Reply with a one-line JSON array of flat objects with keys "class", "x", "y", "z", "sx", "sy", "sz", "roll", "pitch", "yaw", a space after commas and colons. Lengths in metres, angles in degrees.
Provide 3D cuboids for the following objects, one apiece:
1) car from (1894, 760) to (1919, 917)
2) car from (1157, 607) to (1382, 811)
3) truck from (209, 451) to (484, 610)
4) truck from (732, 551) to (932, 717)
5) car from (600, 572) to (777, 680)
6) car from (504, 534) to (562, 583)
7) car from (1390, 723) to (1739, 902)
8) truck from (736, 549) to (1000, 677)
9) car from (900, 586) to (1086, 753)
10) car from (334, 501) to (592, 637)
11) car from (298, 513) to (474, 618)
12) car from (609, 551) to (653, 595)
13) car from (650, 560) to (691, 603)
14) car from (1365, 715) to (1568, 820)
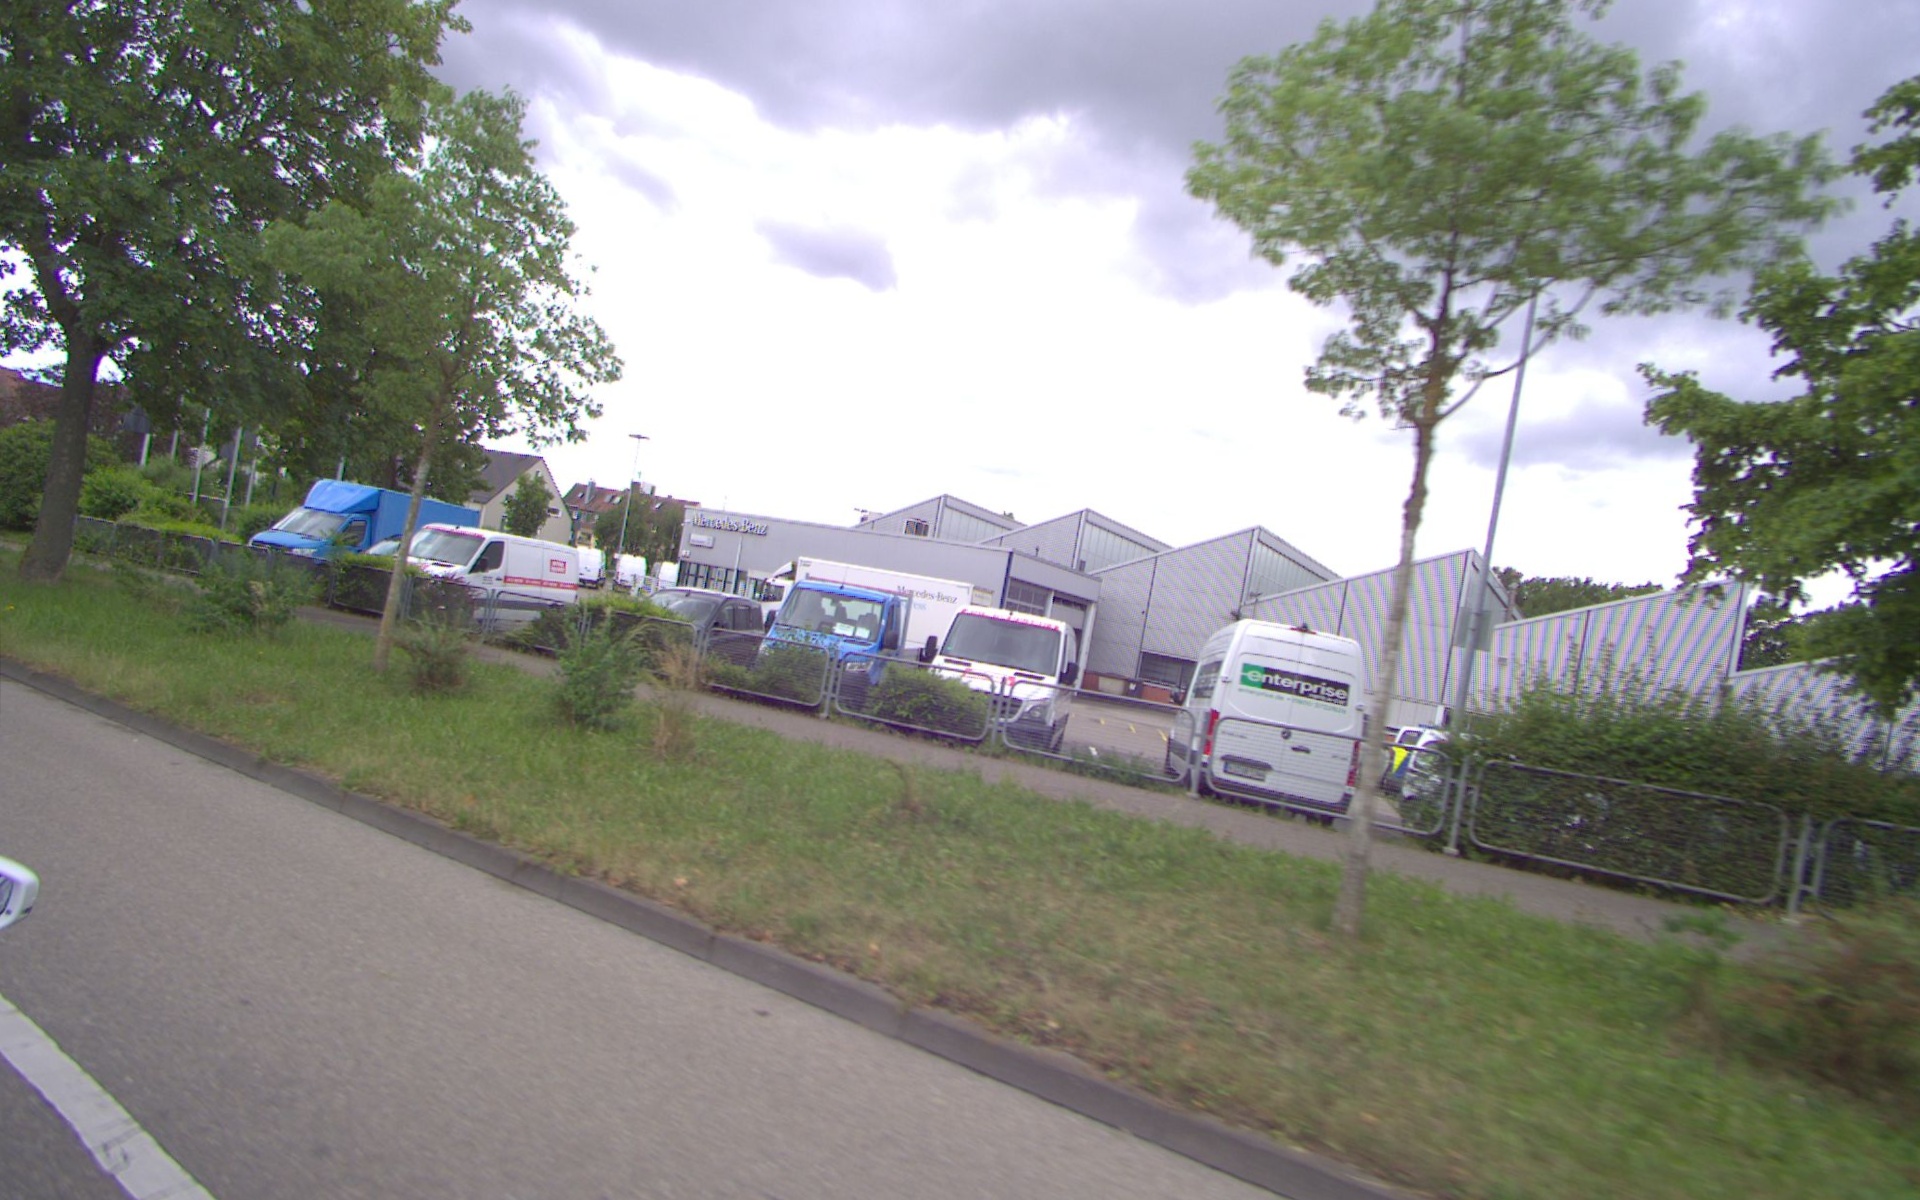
[{"class": "car", "x": 14.176, "y": 3.291, "z": 11.611, "sx": 2.037, "sy": 2.057, "sz": 4.574, "roll": 9, "pitch": -3, "yaw": -8}, {"class": "car", "x": 4.315, "y": 1.512, "z": 15.006, "sx": 2.032, "sy": 2.212, "sz": 5.271, "roll": 8, "pitch": -3, "yaw": 7}, {"class": "truck", "x": -17.533, "y": -1.766, "z": 29.502, "sx": 2.569, "sy": 3.517, "sz": 7.195, "roll": 8, "pitch": -1, "yaw": 8}, {"class": "truck", "x": -2.064, "y": 0.703, "z": 18.562, "sx": 2.205, "sy": 2.236, "sz": 6.263, "roll": 8, "pitch": -3, "yaw": 4}, {"class": "car", "x": -5.184, "y": 0.577, "z": 19.868, "sx": 1.962, "sy": 1.647, "sz": 4.006, "roll": 8, "pitch": -3, "yaw": 4}, {"class": "car", "x": -27.436, "y": -2.653, "z": 64.792, "sx": 2.228, "sy": 2.709, "sz": 5.433, "roll": 9, "pitch": 0, "yaw": -14}, {"class": "car", "x": 8.839, "y": 3.072, "z": 15.060, "sx": 3.924, "sy": 1.772, "sz": 1.807, "roll": 8, "pitch": -2, "yaw": 9}, {"class": "truck", "x": -3.553, "y": 0.491, "z": 38.433, "sx": 9.364, "sy": 3.497, "sz": 2.866, "roll": 7, "pitch": -2, "yaw": 20}, {"class": "car", "x": 0.795, "y": 1.143, "z": 16.496, "sx": 2.032, "sy": 1.978, "sz": 5.838, "roll": 8, "pitch": -3, "yaw": 10}, {"class": "car", "x": -11.661, "y": -0.557, "z": 24.347, "sx": 2.317, "sy": 2.393, "sz": 6.041, "roll": 8, "pitch": -3, "yaw": 8}, {"class": "car", "x": -14.813, "y": -0.798, "z": 26.255, "sx": 1.889, "sy": 2.098, "sz": 4.005, "roll": 8, "pitch": -3, "yaw": 3}, {"class": "car", "x": -23.491, "y": -1.941, "z": 72.066, "sx": 2.228, "sy": 2.709, "sz": 5.433, "roll": 9, "pitch": 0, "yaw": -14}, {"class": "car", "x": -21.249, "y": -1.394, "z": 74.041, "sx": 2.228, "sy": 2.709, "sz": 5.433, "roll": 9, "pitch": 0, "yaw": -14}, {"class": "car", "x": 12.321, "y": 4.056, "z": 24.697, "sx": 3.924, "sy": 1.772, "sz": 1.807, "roll": 8, "pitch": -2, "yaw": 9}]
